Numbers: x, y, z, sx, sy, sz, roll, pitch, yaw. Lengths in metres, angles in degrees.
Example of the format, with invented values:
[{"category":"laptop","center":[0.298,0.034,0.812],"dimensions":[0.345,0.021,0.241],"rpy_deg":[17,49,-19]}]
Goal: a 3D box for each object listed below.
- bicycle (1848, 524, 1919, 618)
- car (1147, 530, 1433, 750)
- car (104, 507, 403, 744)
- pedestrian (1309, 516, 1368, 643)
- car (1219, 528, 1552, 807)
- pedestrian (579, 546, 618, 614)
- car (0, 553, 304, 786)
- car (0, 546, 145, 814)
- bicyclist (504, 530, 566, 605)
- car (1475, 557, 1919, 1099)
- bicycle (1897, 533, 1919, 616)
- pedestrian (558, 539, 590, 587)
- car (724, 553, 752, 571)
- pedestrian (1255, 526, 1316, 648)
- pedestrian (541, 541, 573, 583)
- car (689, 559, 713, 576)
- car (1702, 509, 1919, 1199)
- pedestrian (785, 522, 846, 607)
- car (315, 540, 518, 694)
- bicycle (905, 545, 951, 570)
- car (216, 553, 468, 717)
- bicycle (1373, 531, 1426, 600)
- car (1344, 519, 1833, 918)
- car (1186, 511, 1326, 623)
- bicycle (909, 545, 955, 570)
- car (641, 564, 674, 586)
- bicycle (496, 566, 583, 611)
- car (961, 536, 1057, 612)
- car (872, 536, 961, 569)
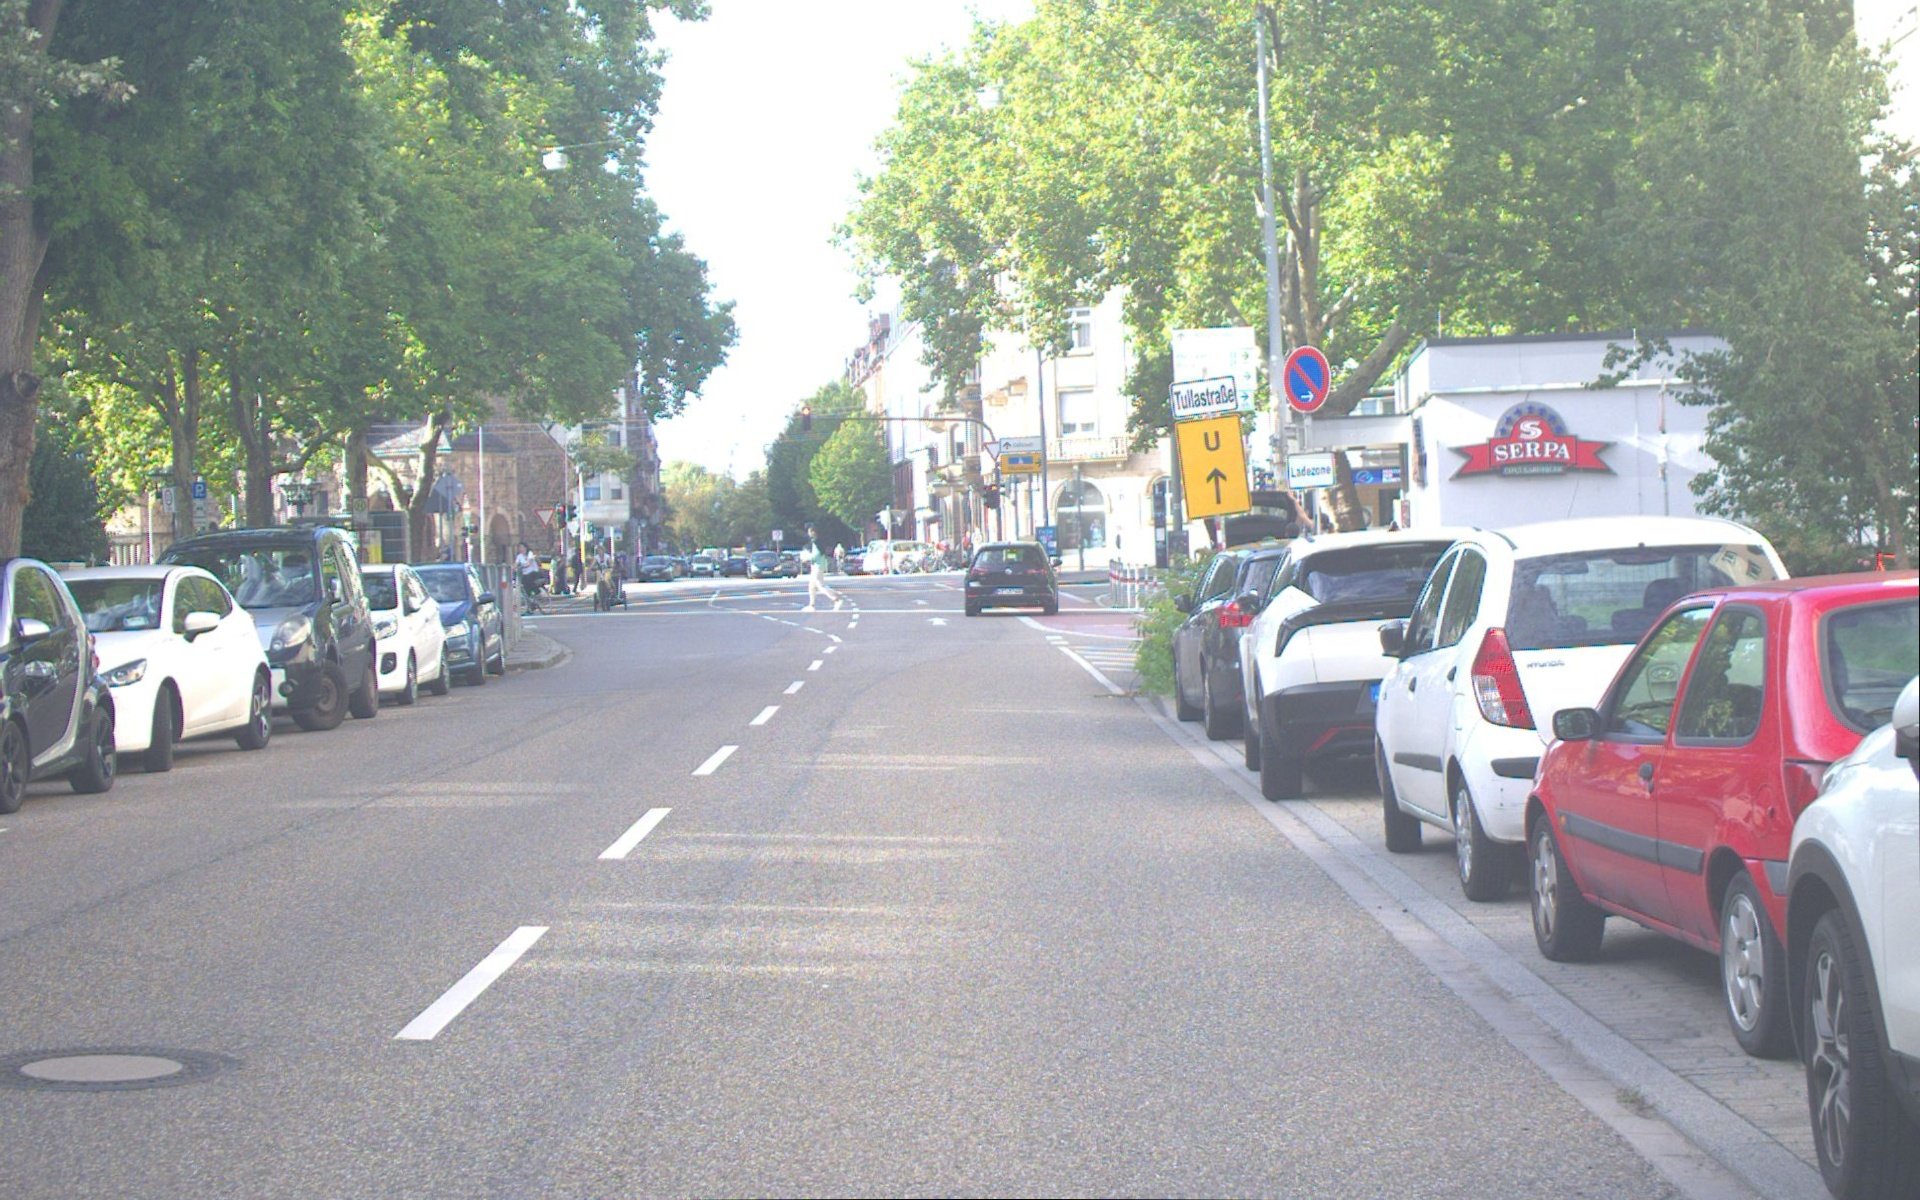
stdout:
[{"category":"bicycle","center":[10.755,-0.345,39.689],"dimensions":[0.521,1.052,1.553],"rpy_deg":[-1,1,-3]},{"category":"car","center":[2.511,0.251,27.061],"dimensions":[1.690,1.523,4.238],"rpy_deg":[-2,1,-1]},{"category":"car","center":[-6.225,0.175,30.729],"dimensions":[1.723,1.876,4.192],"rpy_deg":[-3,1,0]},{"category":"pedestrian","center":[4.959,-0.271,45.070],"dimensions":[0.652,1.639,0.743],"rpy_deg":[-1,1,0]},{"category":"car","center":[2.546,0.337,21.409],"dimensions":[1.690,1.523,4.237],"rpy_deg":[-2,1,3]},{"category":"pedestrian","center":[-8.986,-0.501,85.405],"dimensions":[0.813,1.648,1.076],"rpy_deg":[-1,1,0]},{"category":"car","center":[-6.292,0.464,25.562],"dimensions":[1.694,1.488,4.332],"rpy_deg":[-3,1,3]},{"category":"car","center":[-6.233,0.486,21.173],"dimensions":[1.553,1.515,3.016],"rpy_deg":[-4,1,1]},{"category":"bicyclist","center":[-9.719,-0.745,78.600],"dimensions":[1.110,1.686,0.814],"rpy_deg":[-2,1,-44]},{"category":"car","center":[2.784,0.594,11.137],"dimensions":[1.515,1.393,3.676],"rpy_deg":[-3,1,-2]},{"category":"bicycle","center":[11.309,-0.300,39.695],"dimensions":[0.478,0.960,1.553],"rpy_deg":[-1,1,-3]},{"category":"pedestrian","center":[-13.546,-1.310,120.672],"dimensions":[0.781,1.656,0.778],"rpy_deg":[-1,1,19]},{"category":"car","center":[-15.826,-2.746,245.239],"dimensions":[1.778,1.225,3.588],"rpy_deg":[-1,1,-1]},{"category":"pedestrian","center":[4.216,-0.172,44.569],"dimensions":[0.652,1.533,0.743],"rpy_deg":[-3,1,0]},{"category":"pedestrian","center":[-13.960,-1.326,119.101],"dimensions":[0.782,1.427,0.730],"rpy_deg":[-1,1,24]},{"category":"car","center":[-19.001,-2.372,252.339],"dimensions":[1.550,1.225,3.588],"rpy_deg":[-1,1,-1]},{"category":"car","center":[2.757,0.576,6.297],"dimensions":[1.728,1.575,4.117],"rpy_deg":[-3,1,-2]},{"category":"pedestrian","center":[-3.022,-0.737,71.720],"dimensions":[1.074,1.747,0.919],"rpy_deg":[-1,1,-16]},{"category":"car","center":[-6.366,0.156,40.626],"dimensions":[1.799,1.614,3.803],"rpy_deg":[-4,1,-2]},{"category":"bicycle","center":[-1.481,-1.981,160.362],"dimensions":[2.022,1.078,0.631],"rpy_deg":[-2,1,-13]},{"category":"car","center":[-6.411,0.320,36.052],"dimensions":[1.799,1.488,3.803],"rpy_deg":[-4,1,1]},{"category":"bicycle","center":[8.049,-0.635,63.028],"dimensions":[0.769,1.202,1.815],"rpy_deg":[-3,1,3]},{"category":"car","center":[2.704,0.441,15.466],"dimensions":[1.551,1.552,3.468],"rpy_deg":[-2,1,1]},{"category":"car","center":[4.063,-0.475,47.722],"dimensions":[1.761,1.407,4.232],"rpy_deg":[-3,1,3]},{"category":"bicycle","center":[-1.283,-1.986,159.767],"dimensions":[2.022,1.078,0.620],"rpy_deg":[-2,1,-13]},{"category":"car","center":[-17.130,-1.416,194.723],"dimensions":[1.550,1.225,3.588],"rpy_deg":[-1,1,-1]},{"category":"bicycle","center":[-9.616,-0.268,78.649],"dimensions":[0.763,0.990,1.921],"rpy_deg":[0,1,45]},{"category":"car","center":[0.921,-0.527,67.111],"dimensions":[1.751,1.409,4.000],"rpy_deg":[-1,1,-1]},{"category":"car","center":[-2.055,-2.226,162.078],"dimensions":[3.986,1.415,2.000],"rpy_deg":[-2,1,-7]}]
